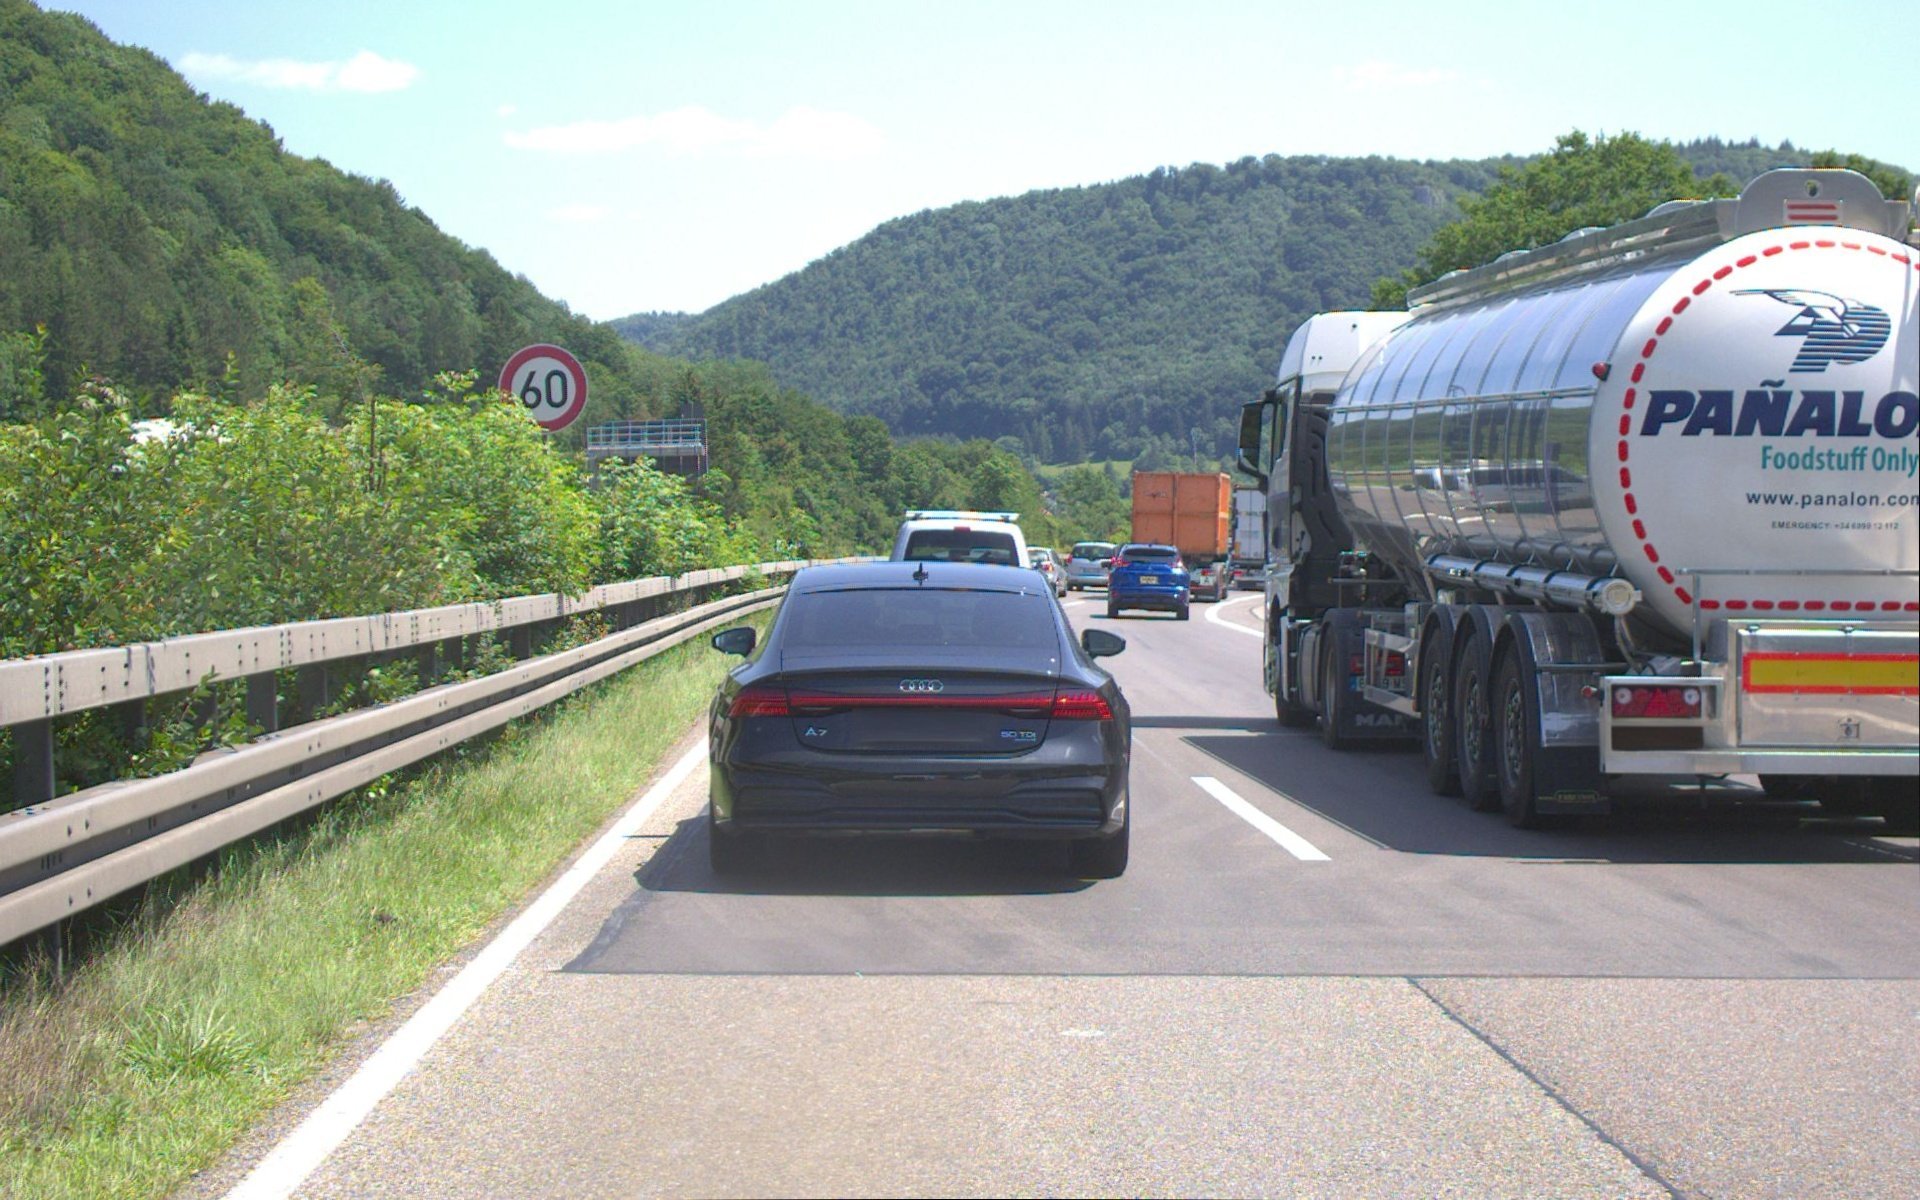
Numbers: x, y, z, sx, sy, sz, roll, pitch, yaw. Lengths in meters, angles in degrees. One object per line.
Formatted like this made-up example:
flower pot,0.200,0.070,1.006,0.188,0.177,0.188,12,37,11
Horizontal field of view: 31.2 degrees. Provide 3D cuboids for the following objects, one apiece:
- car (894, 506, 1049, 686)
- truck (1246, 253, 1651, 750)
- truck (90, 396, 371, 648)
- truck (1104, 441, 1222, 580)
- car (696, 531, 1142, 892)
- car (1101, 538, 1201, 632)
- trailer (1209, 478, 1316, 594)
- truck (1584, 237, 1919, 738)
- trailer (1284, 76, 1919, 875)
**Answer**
car,0.094,-0.078,37.317,1.576,1.827,4.000,-1,1,-1
truck,3.933,-0.796,28.725,2.511,3.745,5.246,-1,1,-1
truck,-12.345,-1.315,59.362,2.425,3.886,12.283,-1,1,-1
truck,6.208,-2.733,107.081,2.817,3.989,14.956,-1,1,0
car,-0.310,0.428,16.391,1.849,1.483,4.083,-1,1,-4
car,4.217,-0.359,76.300,1.993,1.996,4.000,-1,1,1
trailer,11.827,-2.507,135.417,3.015,4.367,10.986,-1,1,-1
truck,9.078,-1.041,34.848,2.817,3.989,14.956,-1,1,0
trailer,4.038,-0.691,22.041,2.538,3.722,11.892,-1,1,-1
